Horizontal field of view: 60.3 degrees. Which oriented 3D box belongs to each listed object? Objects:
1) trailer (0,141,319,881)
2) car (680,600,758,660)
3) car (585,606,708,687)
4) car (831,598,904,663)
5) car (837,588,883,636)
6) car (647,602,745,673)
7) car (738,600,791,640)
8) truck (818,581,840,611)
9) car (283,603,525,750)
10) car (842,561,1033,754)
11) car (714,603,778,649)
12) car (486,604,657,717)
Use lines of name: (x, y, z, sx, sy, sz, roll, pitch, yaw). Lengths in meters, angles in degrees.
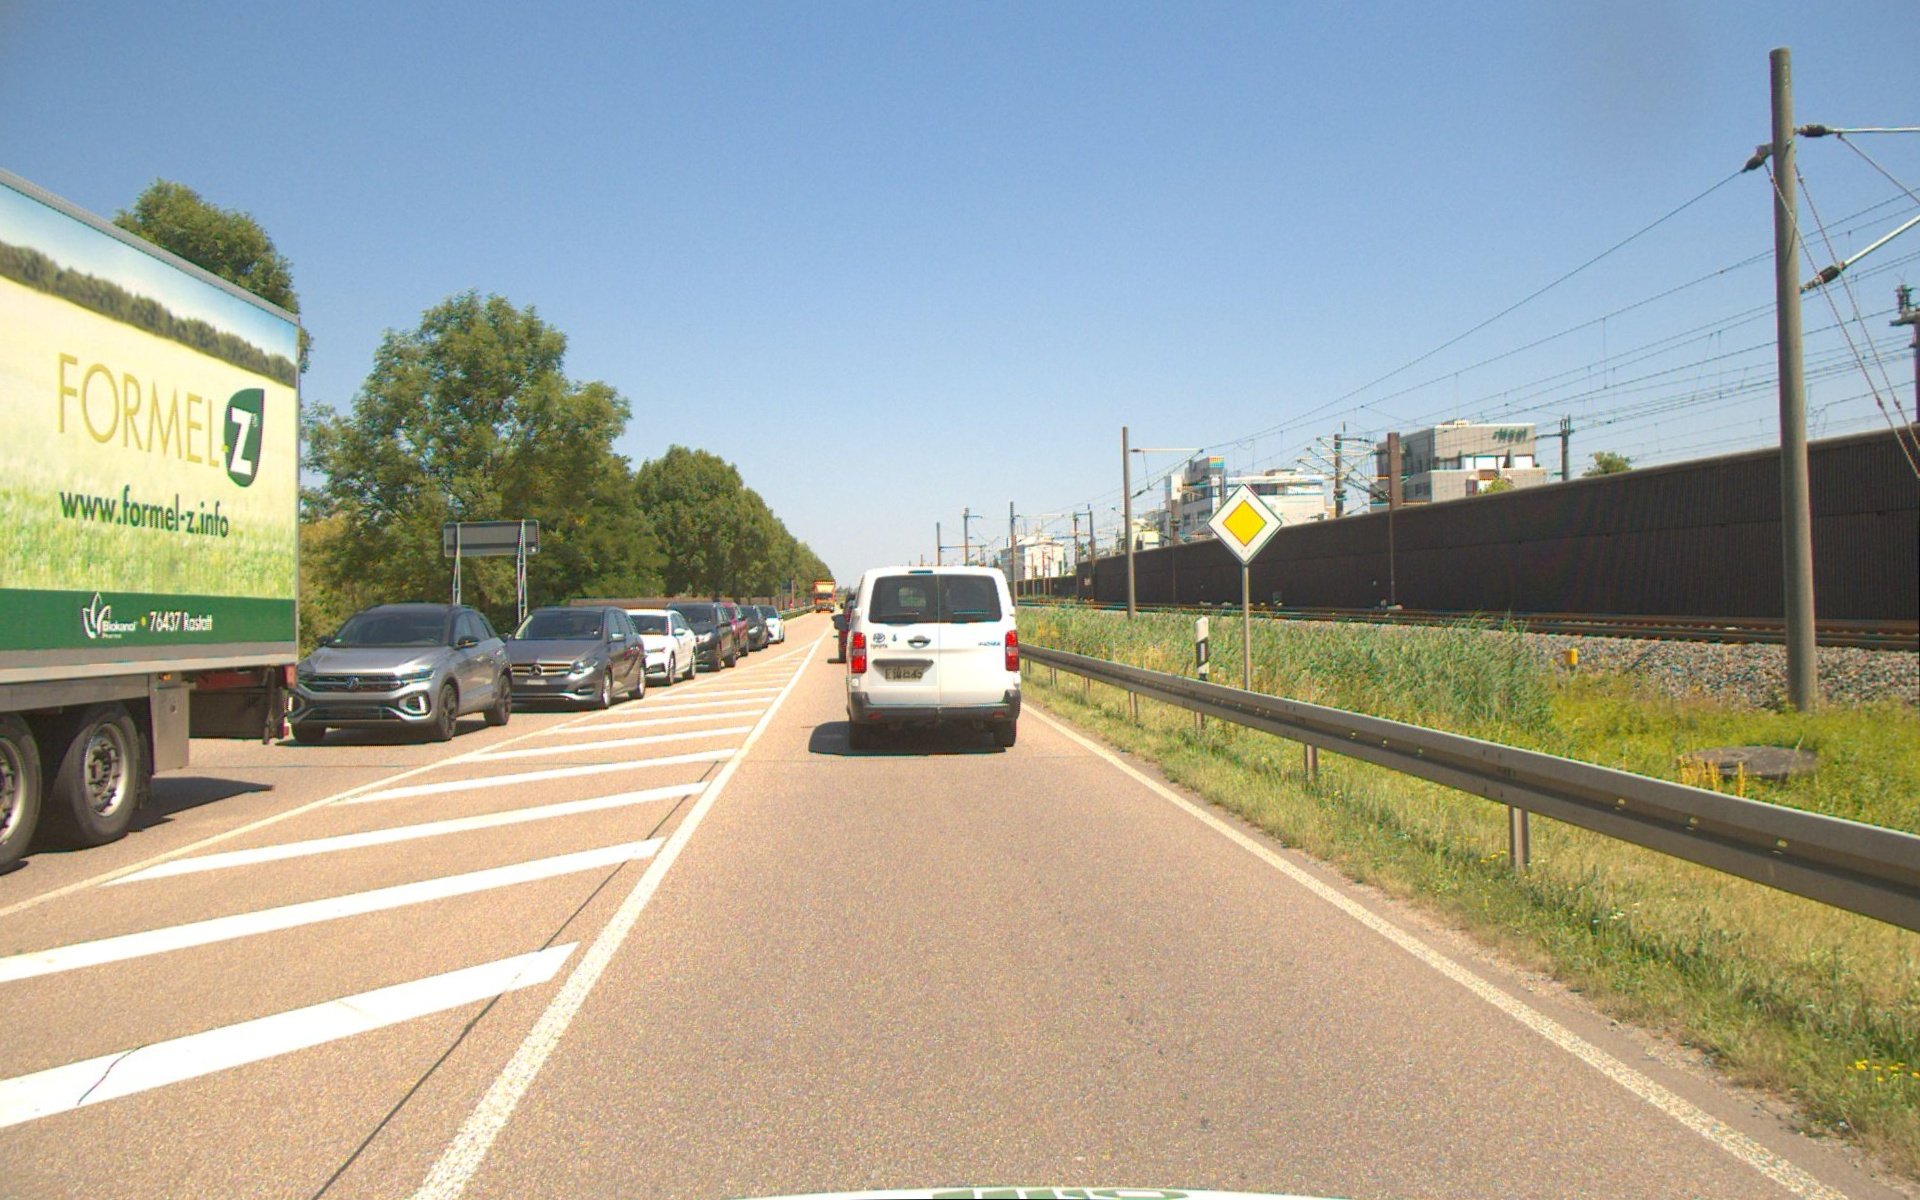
trailer: (-6.572, -0.502, 7.208, 2.635, 4.116, 14.117, 0, 0, -2)
car: (-7.057, 0.835, 48.783, 1.720, 1.660, 4.278, -1, 0, -1)
car: (-6.323, 0.896, 33.794, 1.619, 1.504, 4.630, -1, 0, 0)
car: (-2.576, 0.803, 45.289, 1.869, 1.678, 4.136, 0, 0, -5)
car: (-4.492, 0.528, 74.487, 1.967, 2.058, 4.780, -1, 0, -3)
car: (-6.400, 0.864, 40.518, 1.681, 1.617, 4.534, -1, 0, 0)
car: (-7.450, 0.751, 63.385, 1.651, 1.485, 4.614, 0, 0, -2)
truck: (-17.136, -0.503, 217.172, 2.737, 3.907, 9.316, -1, 0, -4)
car: (-6.713, 0.853, 20.440, 1.677, 1.589, 4.153, -1, 0, -2)
car: (-0.380, 0.591, 19.116, 1.907, 1.914, 4.877, -1, 0, -4)
car: (-7.192, 0.862, 55.961, 1.651, 1.485, 4.614, 0, 0, -1)
car: (-6.036, 0.878, 26.184, 1.591, 1.564, 4.384, -2, 0, 0)
